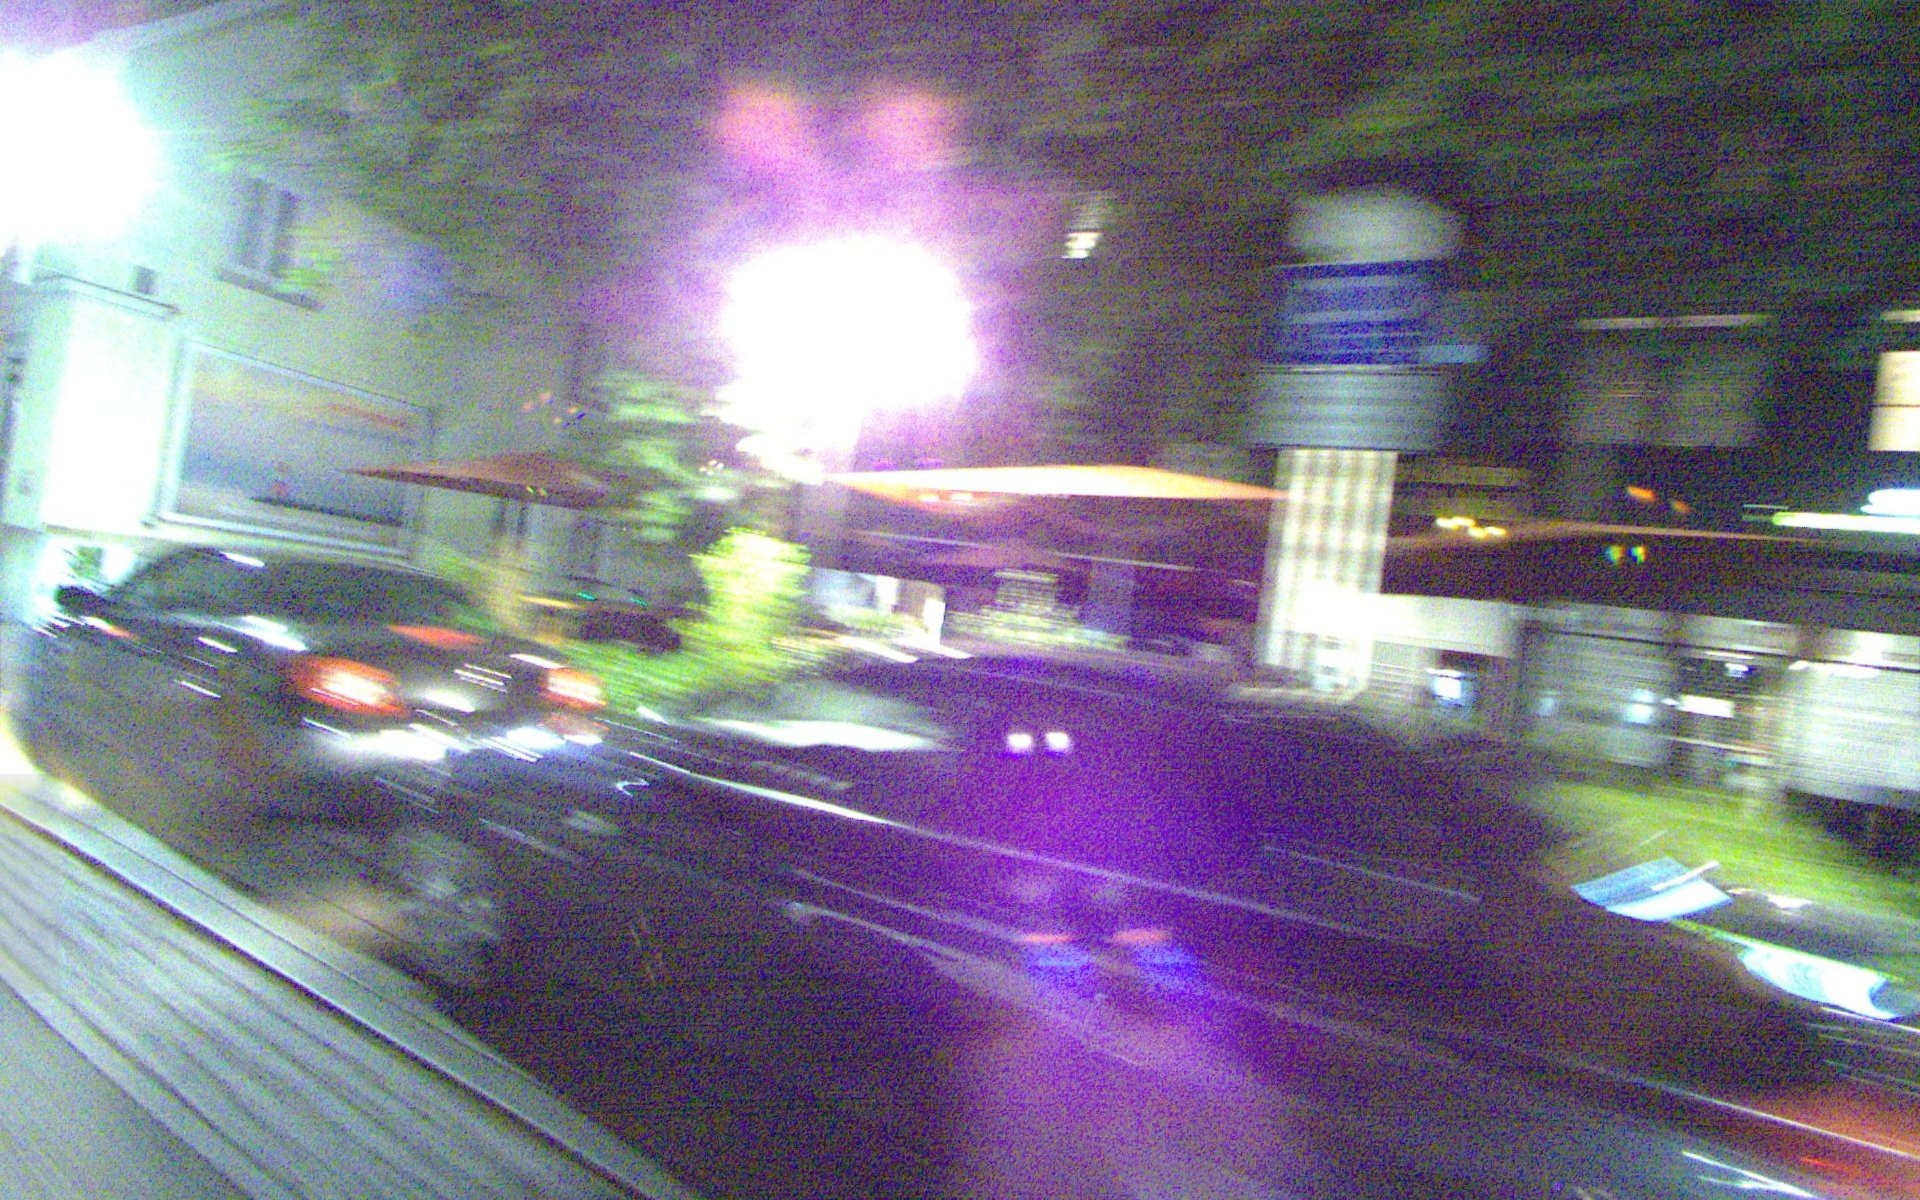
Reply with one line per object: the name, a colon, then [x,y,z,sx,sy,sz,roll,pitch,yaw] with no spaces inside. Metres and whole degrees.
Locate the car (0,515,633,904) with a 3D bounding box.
car: [-3.962,0.411,5.915,4.038,1.394,1.662,7,0,34]

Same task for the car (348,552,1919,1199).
car: [0.146,0.837,3.123,4.395,1.482,1.754,7,0,34]
